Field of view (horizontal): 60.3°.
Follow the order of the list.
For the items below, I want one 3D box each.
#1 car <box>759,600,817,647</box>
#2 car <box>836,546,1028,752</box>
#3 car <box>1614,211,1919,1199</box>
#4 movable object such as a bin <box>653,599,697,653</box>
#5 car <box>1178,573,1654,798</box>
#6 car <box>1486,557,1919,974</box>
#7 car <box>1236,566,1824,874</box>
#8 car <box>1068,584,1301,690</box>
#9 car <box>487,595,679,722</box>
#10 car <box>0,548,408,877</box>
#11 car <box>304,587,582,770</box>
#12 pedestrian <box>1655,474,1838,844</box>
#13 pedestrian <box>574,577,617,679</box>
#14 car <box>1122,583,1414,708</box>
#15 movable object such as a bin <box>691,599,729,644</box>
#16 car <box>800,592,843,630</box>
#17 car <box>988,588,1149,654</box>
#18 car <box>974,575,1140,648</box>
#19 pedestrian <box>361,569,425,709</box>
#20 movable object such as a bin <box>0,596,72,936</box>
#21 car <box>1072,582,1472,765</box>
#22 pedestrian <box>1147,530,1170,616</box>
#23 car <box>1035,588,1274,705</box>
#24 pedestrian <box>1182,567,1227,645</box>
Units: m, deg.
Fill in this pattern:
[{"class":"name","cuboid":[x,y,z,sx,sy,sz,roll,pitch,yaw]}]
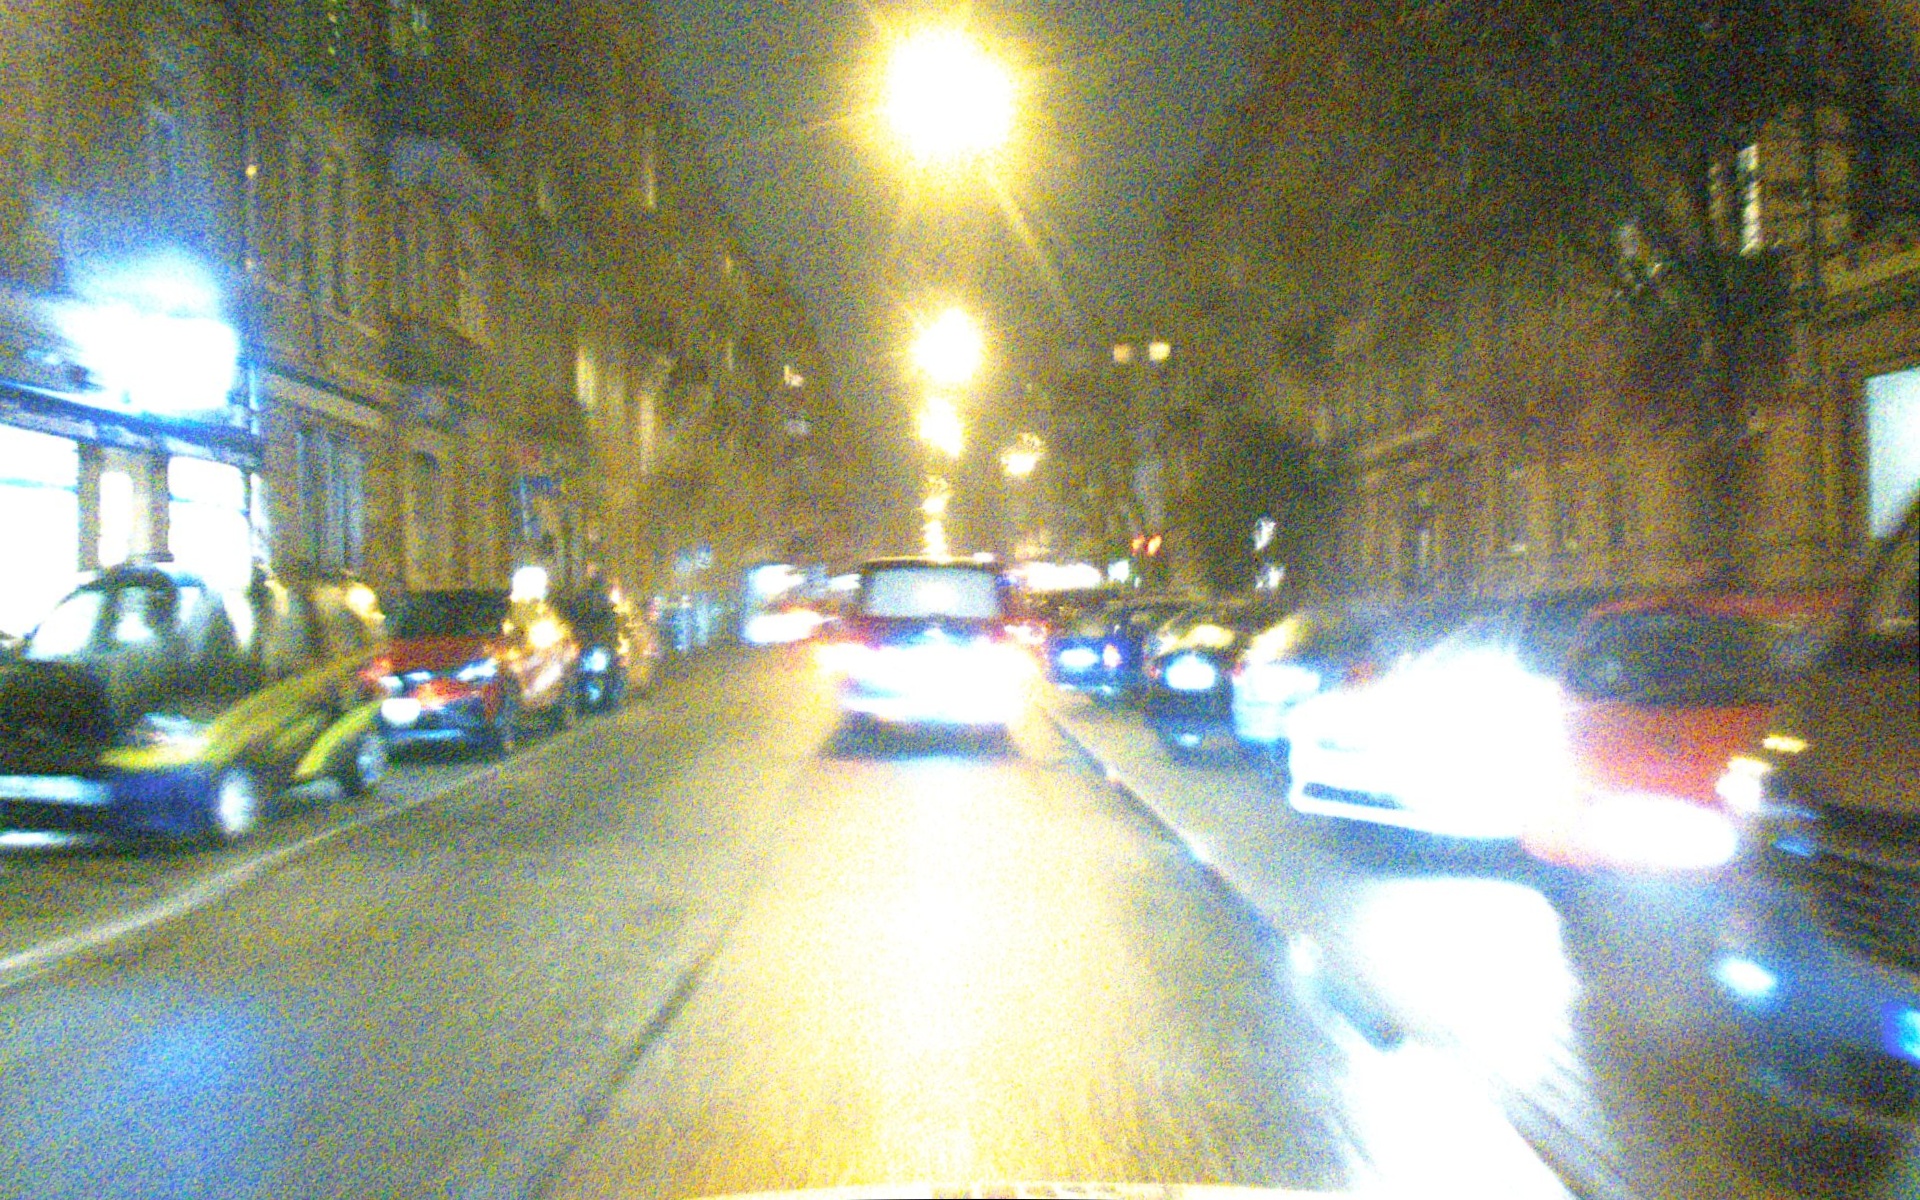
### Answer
[{"class":"car","cuboid":[-5.685,0.750,55.005,1.555,1.508,3.793,0,0,0]},{"class":"car","cuboid":[-0.326,0.520,18.898,1.953,2.086,3.999,0,-1,-1]},{"class":"car","cuboid":[4.106,0.228,4.851,4.677,2.287,1.920,-2,0,-38]},{"class":"movable object such as a bin","cuboid":[-7.776,0.696,45.138,0.955,1.423,1.133,1,0,1]},{"class":"car","cuboid":[3.956,0.628,14.092,3.962,1.579,1.972,-2,0,-39]},{"class":"car","cuboid":[4.201,0.604,7.924,3.366,1.569,1.556,-2,0,-38]},{"class":"car","cuboid":[3.635,0.636,10.406,3.605,1.569,1.543,-2,0,-32]},{"class":"car","cuboid":[3.699,0.563,27.118,3.603,1.608,1.577,-1,0,-30]},{"class":"car","cuboid":[-4.867,0.694,21.921,1.652,1.481,4.314,0,0,-2]},{"class":"car","cuboid":[-4.911,0.597,10.618,1.571,1.736,3.720,0,0,-2]},{"class":"car","cuboid":[-4.931,0.663,16.319,1.571,1.579,4.024,0,0,-2]},{"class":"pedestrian","cuboid":[4.585,0.319,9.655,0.635,2.048,0.670,-3,1,-32]},{"class":"pedestrian","cuboid":[-6.712,0.508,30.467,0.579,1.852,0.794,2,0,-1]},{"class":"car","cuboid":[4.249,0.581,22.578,3.957,1.477,1.666,-2,0,-37]},{"class":"movable object such as a bin","cuboid":[-8.218,0.699,54.471,1.026,1.423,1.158,1,0,1]},{"class":"car","cuboid":[-5.925,0.449,70.720,1.777,1.584,4.072,0,0,-5]},{"class":"car","cuboid":[2.914,0.553,44.342,3.940,1.518,1.719,-3,0,-27]},{"class":"car","cuboid":[2.965,0.309,50.046,4.738,2.084,2.044,-1,0,-32]},{"class":"pedestrian","cuboid":[-7.460,0.503,21.789,0.626,1.812,0.549,-1,0,-1]},{"class":"movable object such as a bin","cuboid":[-4.801,0.717,7.181,1.236,1.485,1.151,1,0,1]},{"class":"car","cuboid":[3.234,0.672,16.861,3.957,1.579,1.781,-2,0,-37]},{"class":"pedestrian","cuboid":[8.369,-1.141,69.657,0.873,3.589,0.791,0,0,-1]},{"class":"car","cuboid":[2.896,0.636,24.122,1.576,1.486,3.661,-2,0,43]},{"class":"pedestrian","cuboid":[6.139,0.144,41.652,0.851,1.888,0.992,-3,0,-4]}]
